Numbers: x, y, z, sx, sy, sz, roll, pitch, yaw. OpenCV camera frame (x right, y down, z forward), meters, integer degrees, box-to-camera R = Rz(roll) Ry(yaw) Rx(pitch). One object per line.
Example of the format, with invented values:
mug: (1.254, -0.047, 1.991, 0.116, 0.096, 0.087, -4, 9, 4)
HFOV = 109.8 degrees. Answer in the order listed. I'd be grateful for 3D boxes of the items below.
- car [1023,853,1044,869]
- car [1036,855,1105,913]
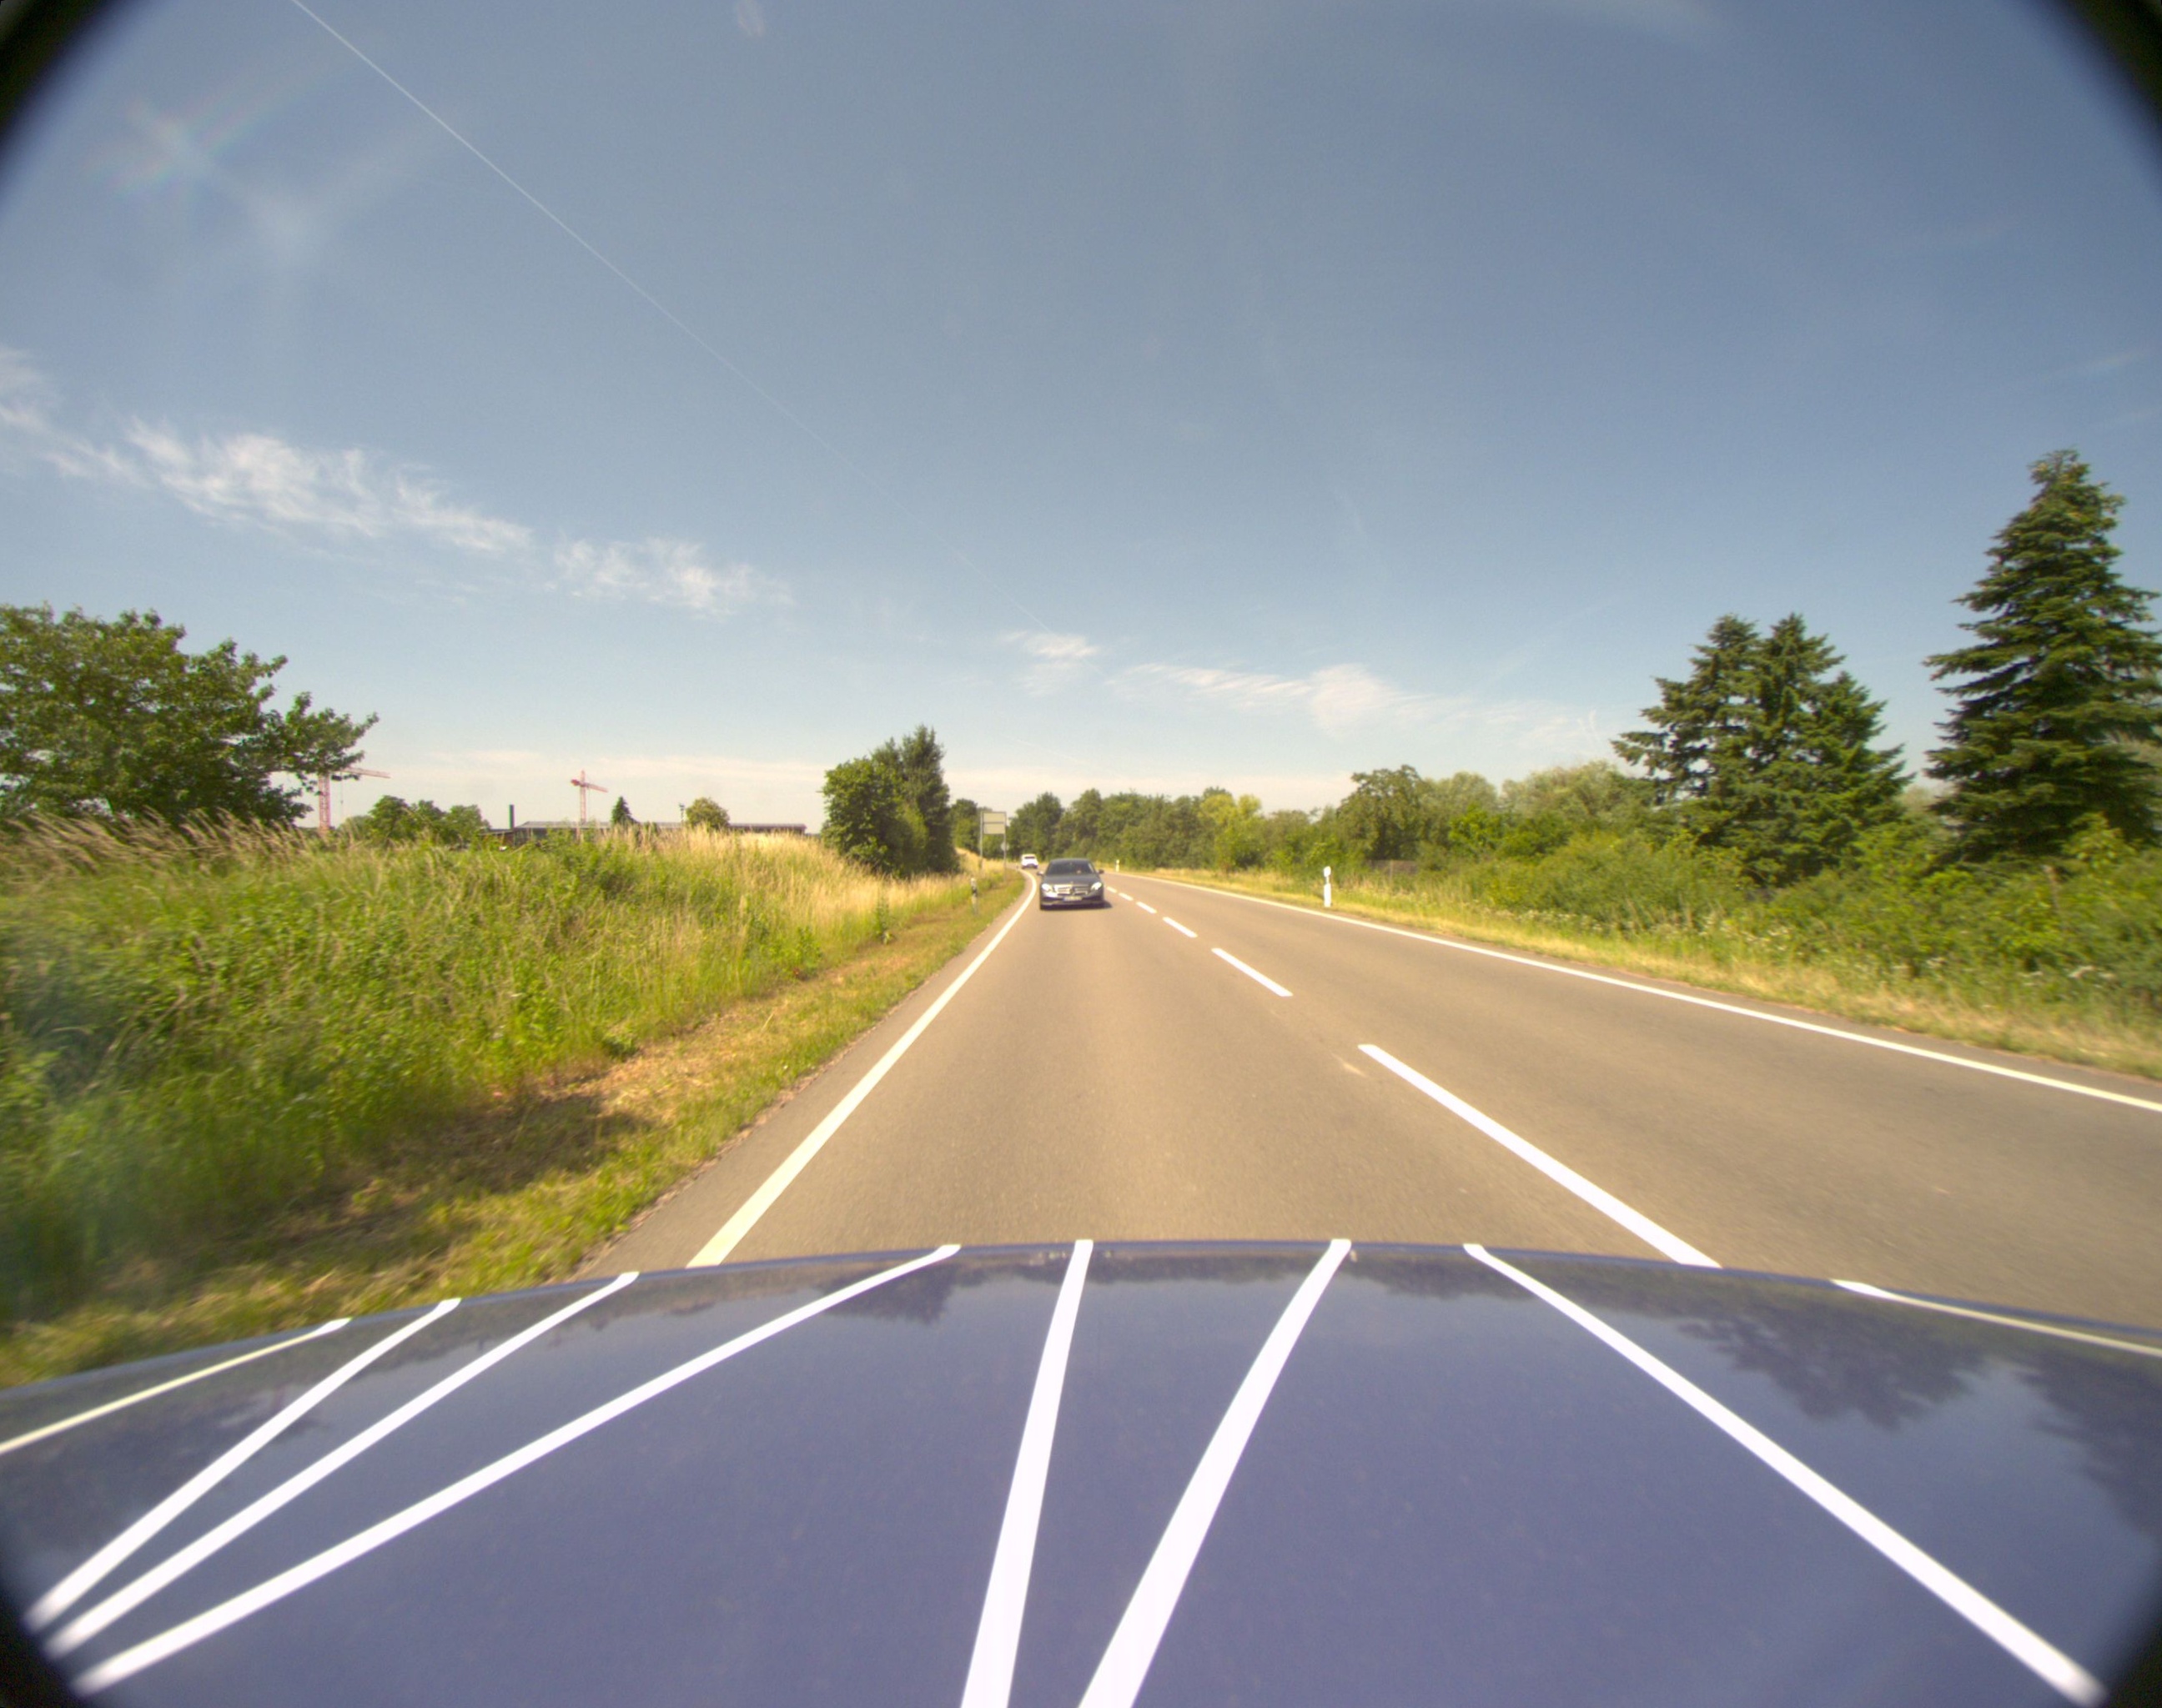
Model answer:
car: (-6.309, 0.896, 100.065, 2.181, 2.002, 5.021, -3, 0, -9)
car: (-0.216, 0.847, 23.417, 1.831, 1.540, 4.499, -1, 0, 3)
